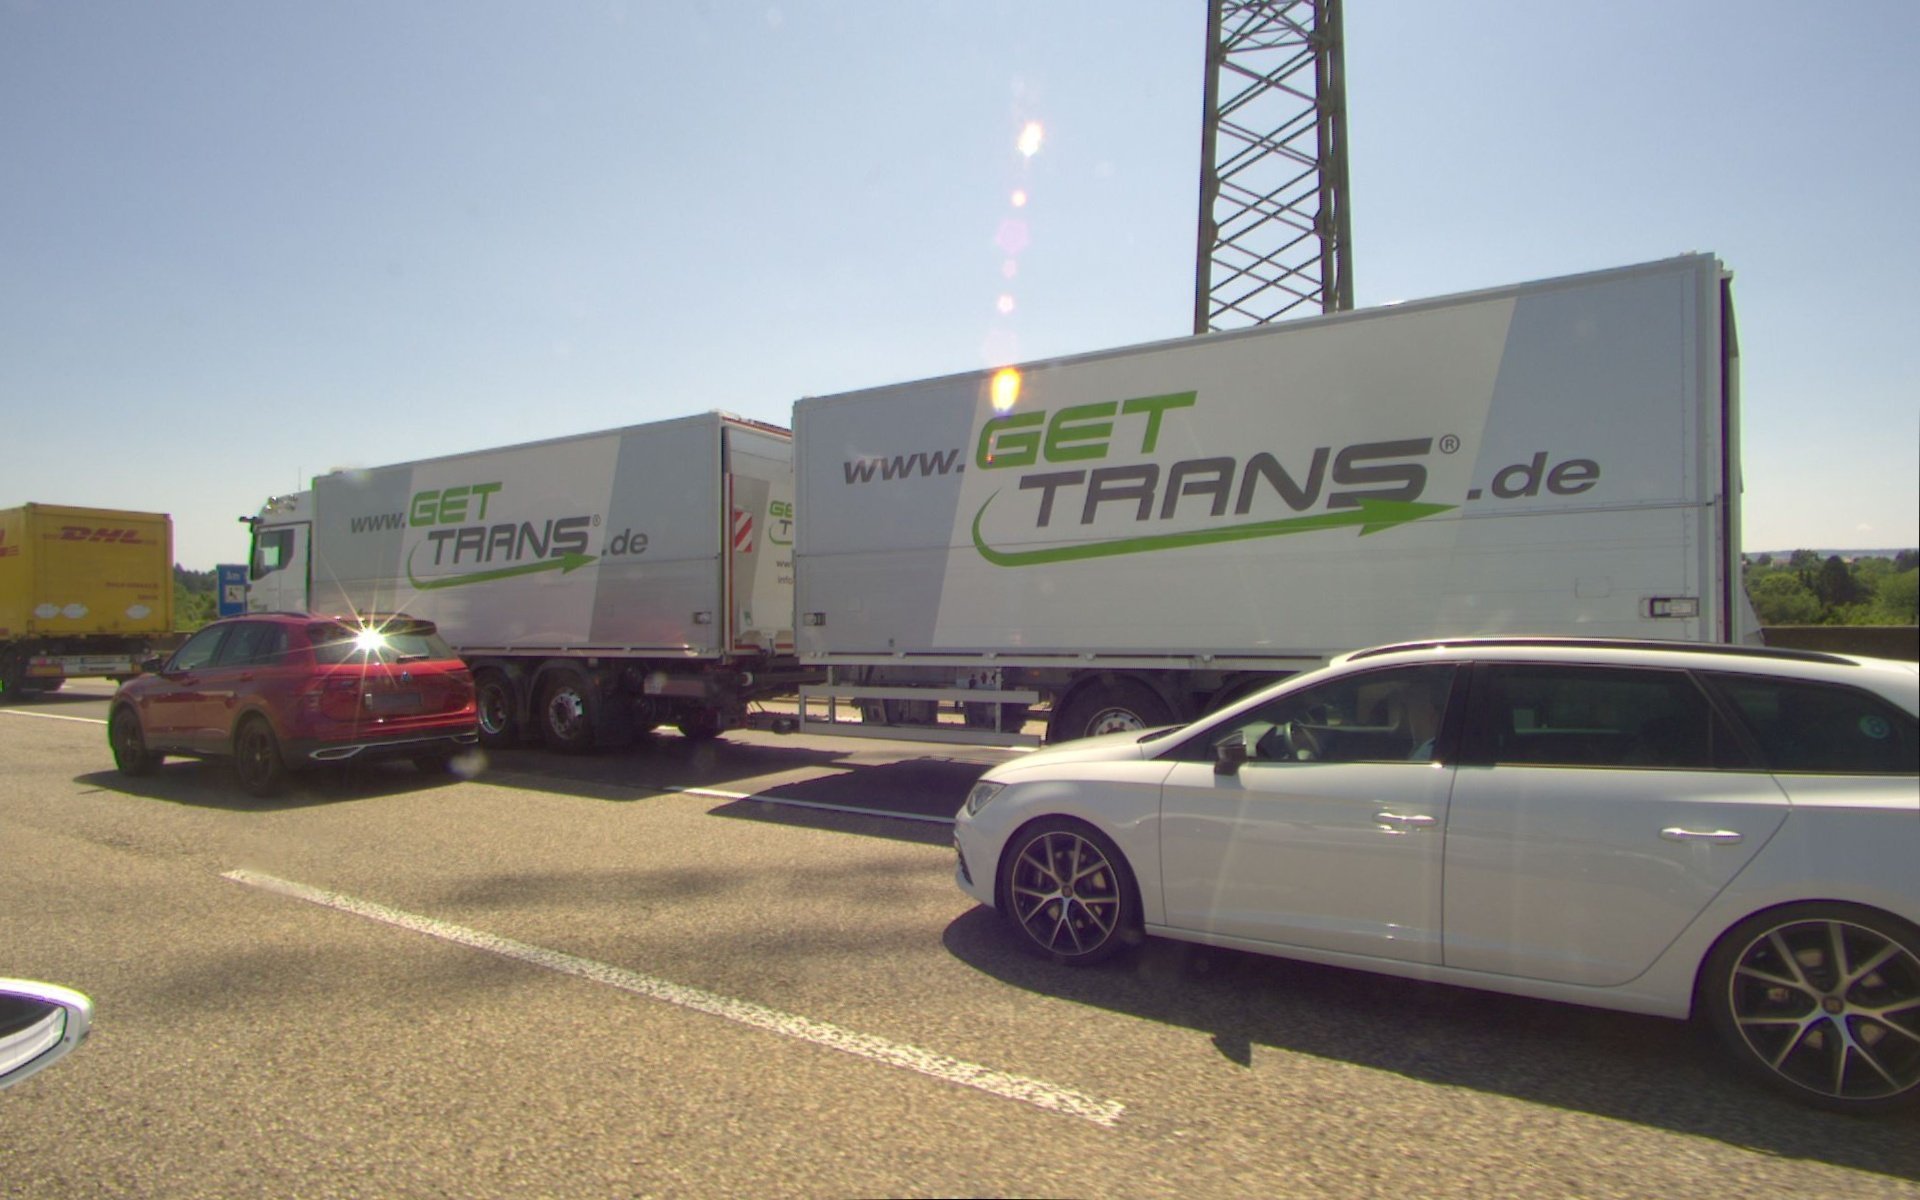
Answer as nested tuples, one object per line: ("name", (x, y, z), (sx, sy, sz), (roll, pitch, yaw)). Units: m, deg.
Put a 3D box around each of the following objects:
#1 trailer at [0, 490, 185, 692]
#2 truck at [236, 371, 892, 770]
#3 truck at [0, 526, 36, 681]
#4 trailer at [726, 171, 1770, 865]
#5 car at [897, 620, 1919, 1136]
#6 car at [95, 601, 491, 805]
("trailer", (-22.114, -0.039, 23.885), (8.849, 4.139, 2.679), (-1, -2, 31))
("truck", (-6.019, -0.130, 13.952), (10.458, 3.984, 2.848), (-2, -2, 32))
("truck", (-30.078, 0.189, 28.663), (9.795, 4.139, 2.696), (-1, -2, 31))
("trailer", (1.860, -0.336, 9.054), (8.096, 3.940, 2.894), (-1, -2, 32))
("car", (1.997, 0.838, 4.343), (4.365, 1.470, 1.706), (-1, -2, 32))
("car", (-6.845, 0.920, 10.167), (4.222, 1.700, 1.706), (-2, -1, 31))
